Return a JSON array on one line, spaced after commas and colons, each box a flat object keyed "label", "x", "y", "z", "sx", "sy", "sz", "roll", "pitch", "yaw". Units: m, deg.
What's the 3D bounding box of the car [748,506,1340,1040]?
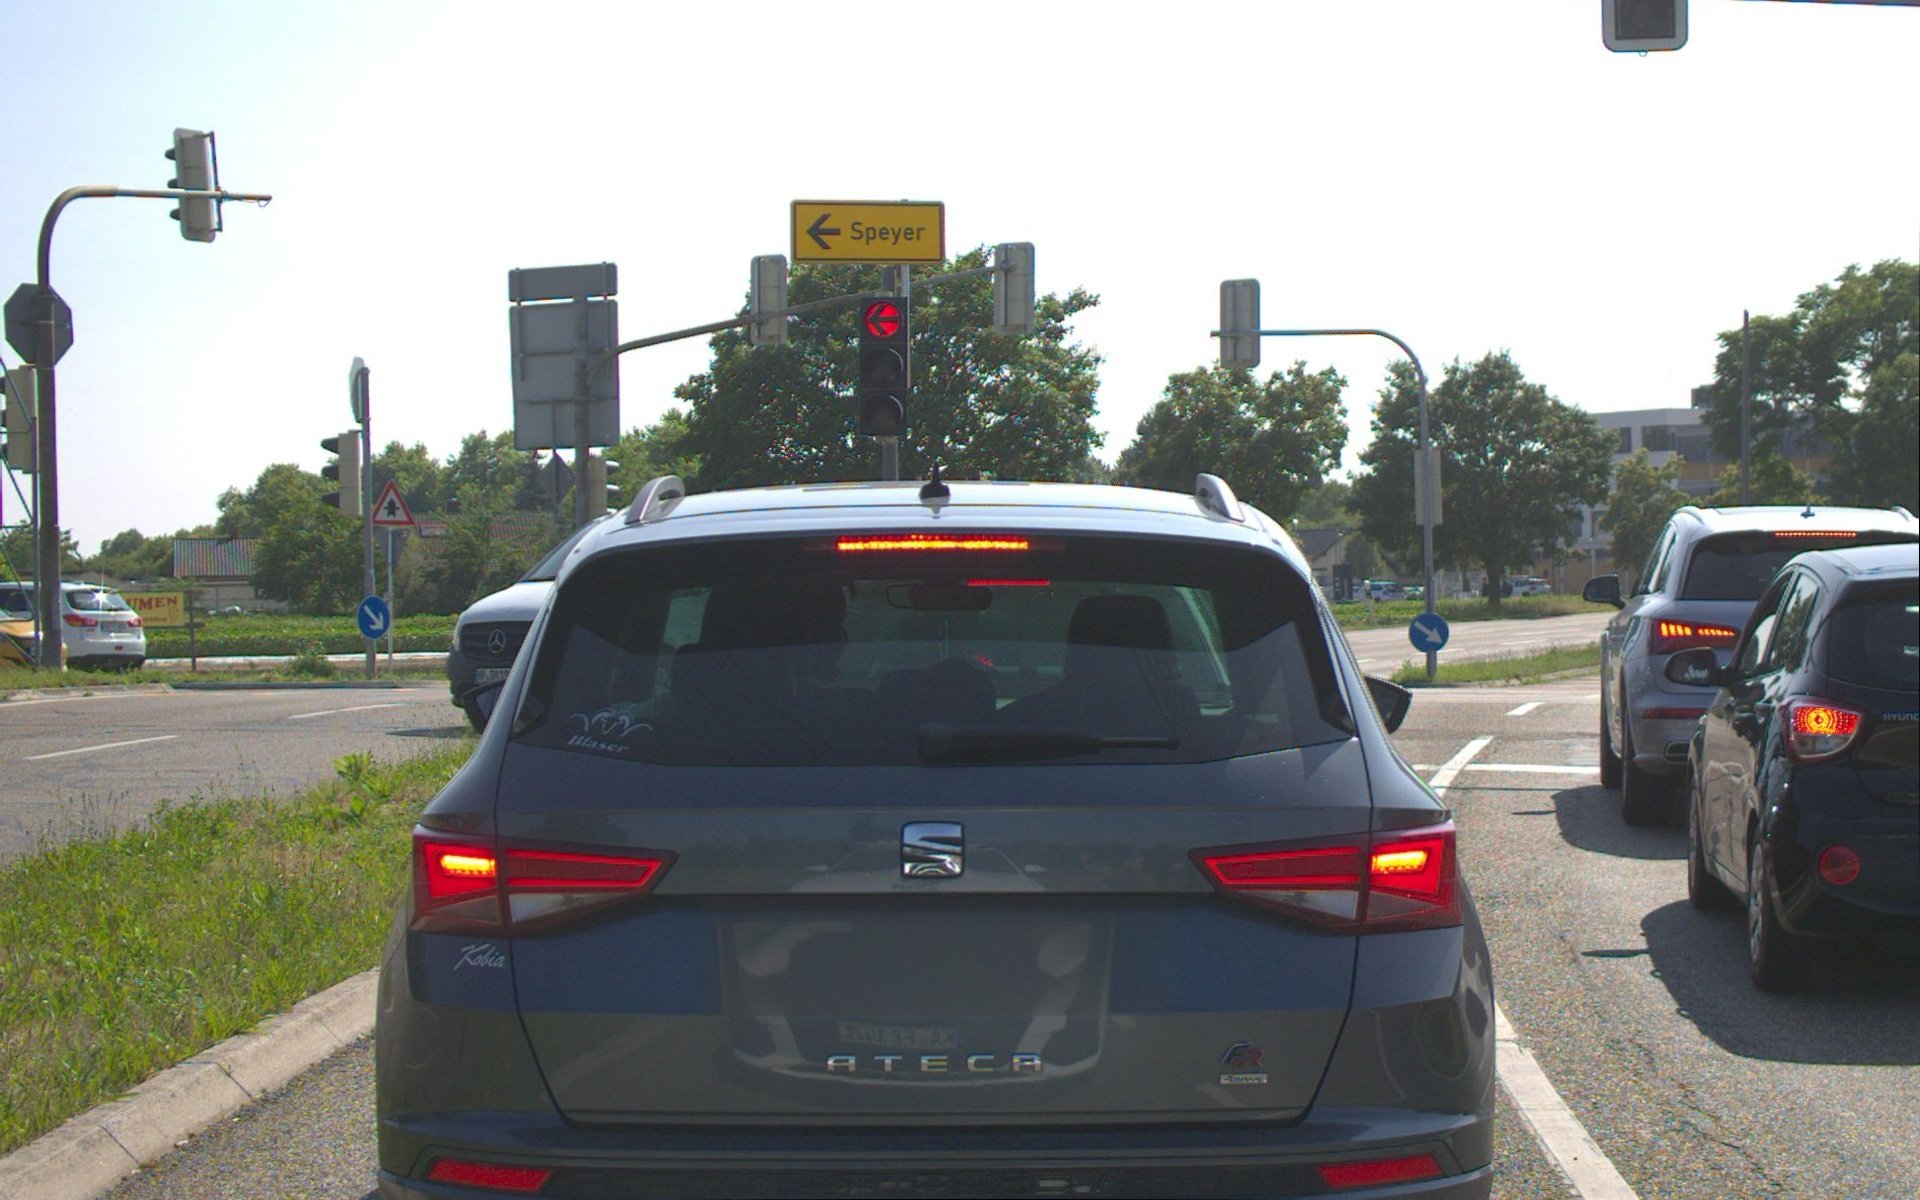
[{"label": "car", "x": 0.278, "y": 0.498, "z": 12.093, "sx": 1.742, "sy": 1.563, "sz": 3.624, "roll": 1, "pitch": 1, "yaw": 1}]

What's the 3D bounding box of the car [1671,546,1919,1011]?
[{"label": "car", "x": 3.528, "y": 0.537, "z": 12.314, "sx": 1.633, "sy": 1.443, "sz": 3.294, "roll": 1, "pitch": 1, "yaw": 7}]

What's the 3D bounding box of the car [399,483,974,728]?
[{"label": "car", "x": -2.234, "y": -0.011, "z": 29.371, "sx": 1.998, "sy": 1.911, "sz": 4.936, "roll": 2, "pitch": 2, "yaw": 40}]

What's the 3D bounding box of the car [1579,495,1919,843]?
[{"label": "car", "x": 4.285, "y": 0.311, "z": 18.539, "sx": 1.633, "sy": 1.671, "sz": 3.748, "roll": 1, "pitch": 1, "yaw": 7}]

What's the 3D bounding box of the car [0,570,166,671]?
[{"label": "car", "x": -14.693, "y": 0.315, "z": 53.617, "sx": 4.327, "sy": 1.514, "sz": 1.805, "roll": 0, "pitch": 1, "yaw": 26}]

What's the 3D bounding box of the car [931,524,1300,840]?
[{"label": "car", "x": 0.910, "y": 0.373, "z": 18.284, "sx": 1.742, "sy": 1.479, "sz": 3.623, "roll": 1, "pitch": 1, "yaw": 5}]

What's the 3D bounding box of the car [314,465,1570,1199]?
[{"label": "car", "x": -0.033, "y": 0.589, "z": 6.632, "sx": 1.742, "sy": 1.563, "sz": 3.624, "roll": 1, "pitch": 1, "yaw": 0}]

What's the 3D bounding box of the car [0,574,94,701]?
[{"label": "car", "x": -13.907, "y": 0.496, "z": 46.652, "sx": 3.993, "sy": 1.645, "sz": 1.817, "roll": 0, "pitch": 1, "yaw": 28}]

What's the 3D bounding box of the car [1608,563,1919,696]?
[{"label": "car", "x": 9.826, "y": 0.334, "z": 40.712, "sx": 3.873, "sy": 1.514, "sz": 1.805, "roll": 0, "pitch": 1, "yaw": 26}]
